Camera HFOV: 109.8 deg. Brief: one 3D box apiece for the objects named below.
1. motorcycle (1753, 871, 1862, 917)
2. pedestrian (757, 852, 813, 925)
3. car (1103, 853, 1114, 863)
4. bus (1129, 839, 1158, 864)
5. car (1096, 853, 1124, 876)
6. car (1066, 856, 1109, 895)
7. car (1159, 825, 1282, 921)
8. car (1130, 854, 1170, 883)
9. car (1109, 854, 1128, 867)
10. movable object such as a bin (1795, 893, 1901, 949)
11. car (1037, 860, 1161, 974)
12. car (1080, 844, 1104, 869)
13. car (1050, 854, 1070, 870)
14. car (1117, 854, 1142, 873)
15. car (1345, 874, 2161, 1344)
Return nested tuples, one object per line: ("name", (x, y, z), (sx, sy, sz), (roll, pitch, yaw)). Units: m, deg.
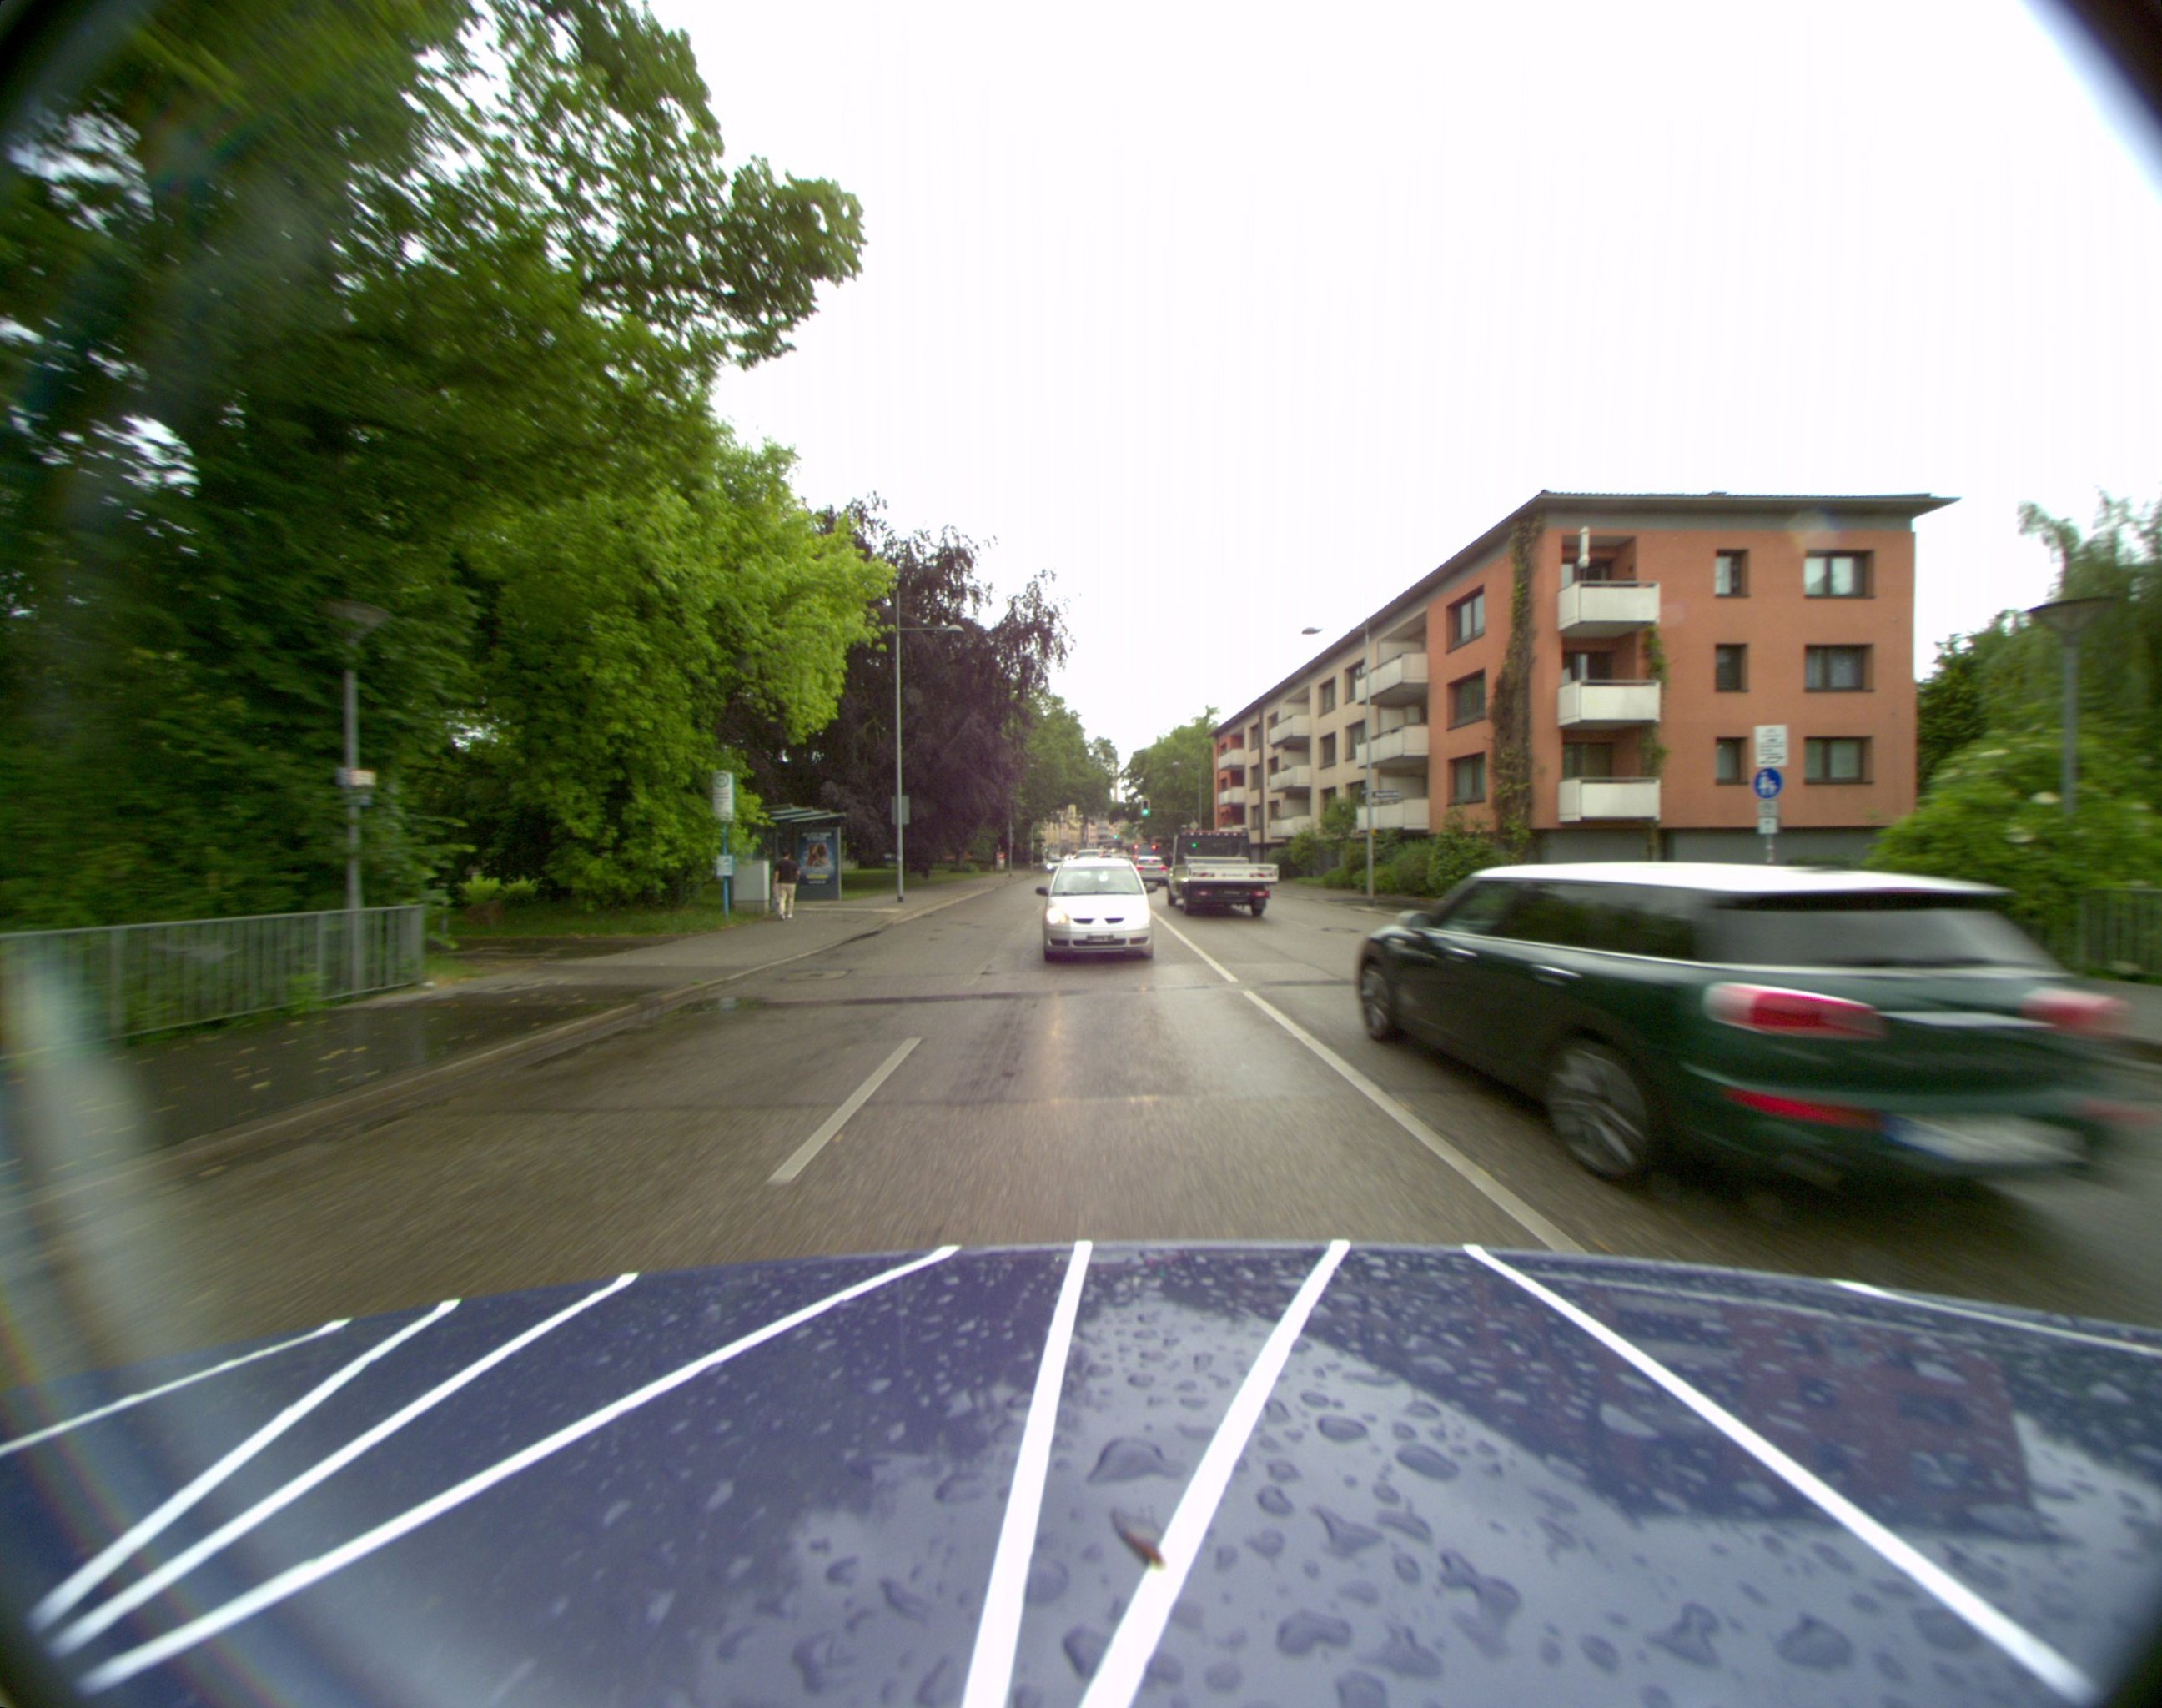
("motorcycle", (20.133, 1.103, 21.073), (2.400, 1.256, 0.781), (0, 0, -4))
("pedestrian", (-7.088, 0.800, 18.231), (0.850, 1.666, 1.167), (1, 1, 0))
("car", (4.267, 0.612, 118.348), (1.691, 1.483, 3.889), (1, 0, 0))
("bus", (7.636, -0.407, 94.048), (2.700, 2.923, 12.082), (0, 1, 0))
("car", (1.958, 0.681, 51.934), (1.800, 1.449, 4.491), (0, 0, 1))
("car", (0.259, 0.880, 33.076), (1.718, 1.509, 4.088), (-1, 0, 0))
("car", (3.705, 0.469, 21.591), (2.295, 2.295, 6.509), (1, 0, 0))
("car", (3.660, 0.755, 40.768), (1.786, 1.465, 4.166), (1, 0, 0))
("car", (3.992, 0.686, 81.343), (1.818, 1.407, 4.048), (1, 0, -1))
("movable object such as a bin", (13.197, 1.140, 13.109), (0.968, 0.872, 0.832), (0, 1, 0))
("car", (0.262, 0.913, 13.176), (1.718, 1.509, 4.806), (-1, 0, 0))
("car", (1.005, 0.173, 68.264), (2.037, 2.119, 3.999), (0, 1, 1))
("car", (-2.132, 0.770, 79.449), (1.906, 1.538, 3.999), (0, 1, 1))
("car", (4.134, 0.796, 65.199), (1.818, 1.569, 4.231), (1, 0, -1))
("car", (3.118, 0.902, 4.521), (1.750, 1.431, 4.000), (0, 0, 1))
